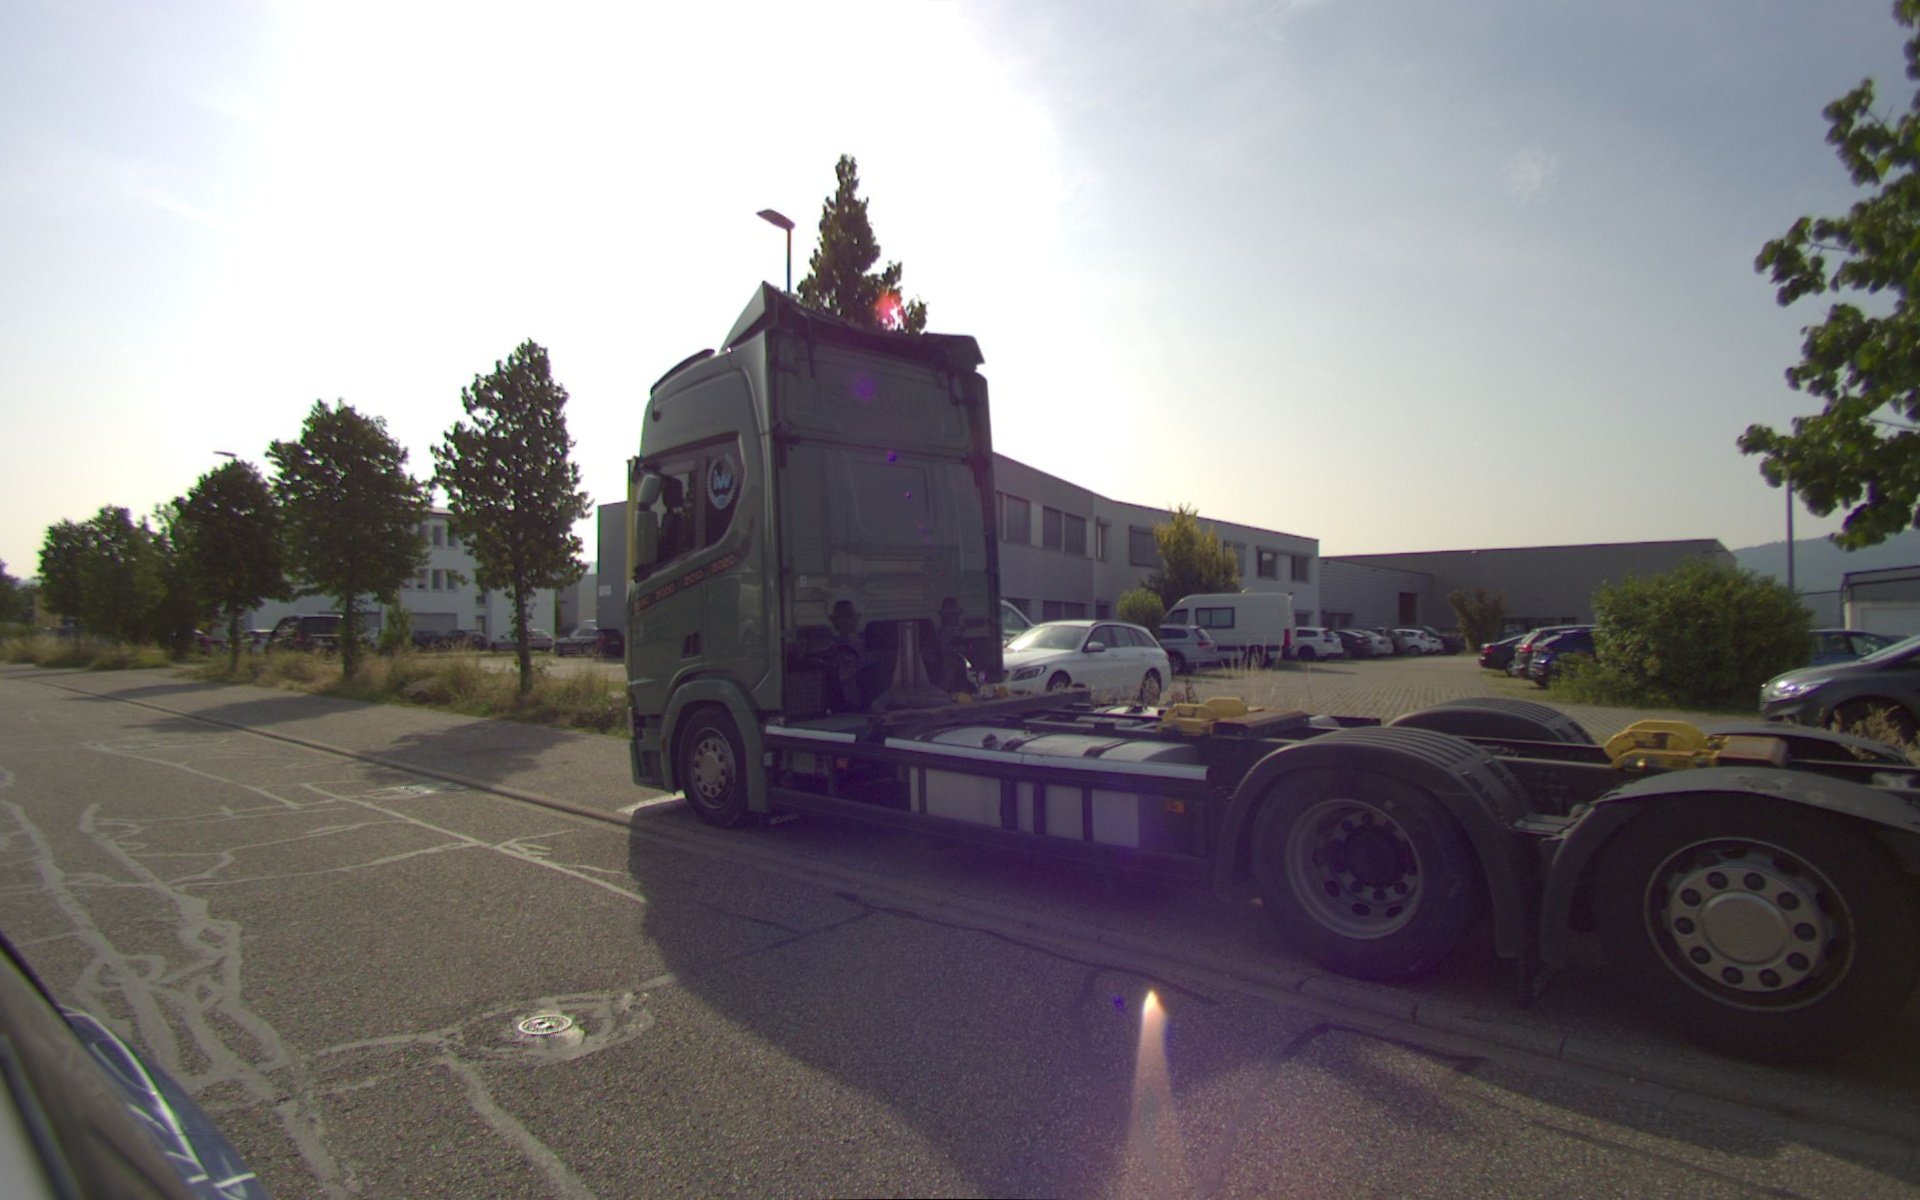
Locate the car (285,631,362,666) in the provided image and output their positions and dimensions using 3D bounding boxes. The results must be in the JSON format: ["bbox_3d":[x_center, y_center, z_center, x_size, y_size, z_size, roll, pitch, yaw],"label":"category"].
[{"bbox_3d":[-31.306,2.373,49.715,4.506,1.619,1.922,-2,-3,40],"label":"car"}]

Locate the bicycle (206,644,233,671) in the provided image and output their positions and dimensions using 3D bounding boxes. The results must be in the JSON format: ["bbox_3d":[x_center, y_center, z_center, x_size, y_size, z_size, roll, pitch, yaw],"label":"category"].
[{"bbox_3d":[-28.494,2.204,38.937,1.871,0.986,0.534,-2,-3,45],"label":"bicycle"}]

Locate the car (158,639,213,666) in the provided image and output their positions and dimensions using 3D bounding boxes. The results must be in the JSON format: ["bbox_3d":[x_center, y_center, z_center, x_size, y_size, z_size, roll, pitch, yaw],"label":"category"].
[{"bbox_3d":[-42.815,2.863,55.909,3.917,1.420,1.736,-2,-3,42],"label":"car"}]

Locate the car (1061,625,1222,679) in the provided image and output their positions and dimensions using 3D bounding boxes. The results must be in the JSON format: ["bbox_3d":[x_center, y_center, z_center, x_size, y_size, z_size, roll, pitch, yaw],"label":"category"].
[{"bbox_3d":[5.373,1.511,30.101,4.499,1.492,1.566,0,-2,25],"label":"car"}]

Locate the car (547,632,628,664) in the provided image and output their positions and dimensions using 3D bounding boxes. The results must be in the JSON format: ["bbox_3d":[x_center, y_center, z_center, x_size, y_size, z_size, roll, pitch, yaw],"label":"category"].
[{"bbox_3d":[-18.491,2.367,50.117,4.779,1.472,1.697,-2,-3,41],"label":"car"}]

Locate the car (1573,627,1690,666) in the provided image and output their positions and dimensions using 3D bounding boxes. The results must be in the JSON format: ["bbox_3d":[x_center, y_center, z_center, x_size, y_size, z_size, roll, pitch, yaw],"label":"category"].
[{"bbox_3d":[30.437,2.077,45.946,4.153,1.625,1.820,-1,-2,44],"label":"car"}]

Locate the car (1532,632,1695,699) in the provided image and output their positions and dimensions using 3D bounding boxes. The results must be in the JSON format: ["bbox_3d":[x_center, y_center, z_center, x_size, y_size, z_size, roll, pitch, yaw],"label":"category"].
[{"bbox_3d":[14.447,1.427,22.514,2.843,1.399,1.182,-1,-2,24],"label":"car"}]

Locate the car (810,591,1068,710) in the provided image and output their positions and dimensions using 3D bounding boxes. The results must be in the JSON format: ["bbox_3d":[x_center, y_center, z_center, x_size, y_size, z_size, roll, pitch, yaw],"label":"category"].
[{"bbox_3d":[-0.235,0.873,18.260,2.102,1.850,4.655,-2,-3,41],"label":"car"}]

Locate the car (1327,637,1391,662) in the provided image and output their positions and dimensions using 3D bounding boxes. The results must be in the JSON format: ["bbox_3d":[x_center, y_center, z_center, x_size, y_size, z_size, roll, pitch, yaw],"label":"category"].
[{"bbox_3d":[19.252,2.383,48.867,2.705,1.186,1.078,-1,-3,32],"label":"car"}]

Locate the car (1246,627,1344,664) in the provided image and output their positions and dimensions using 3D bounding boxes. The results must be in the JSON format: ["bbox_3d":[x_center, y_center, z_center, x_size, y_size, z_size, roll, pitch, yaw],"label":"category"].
[{"bbox_3d":[14.454,1.946,43.702,3.724,1.475,1.559,0,-2,39],"label":"car"}]

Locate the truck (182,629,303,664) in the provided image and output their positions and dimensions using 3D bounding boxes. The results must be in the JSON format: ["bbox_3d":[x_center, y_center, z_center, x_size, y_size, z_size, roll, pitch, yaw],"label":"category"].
[{"bbox_3d":[-64.468,4.211,91.178,8.696,2.855,2.521,4,-5,-34],"label":"truck"}]

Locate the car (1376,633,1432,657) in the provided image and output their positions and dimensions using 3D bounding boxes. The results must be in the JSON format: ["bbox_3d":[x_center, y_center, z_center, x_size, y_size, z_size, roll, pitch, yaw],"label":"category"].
[{"bbox_3d":[24.236,2.458,55.288,2.705,1.240,1.078,-1,-3,32],"label":"car"}]

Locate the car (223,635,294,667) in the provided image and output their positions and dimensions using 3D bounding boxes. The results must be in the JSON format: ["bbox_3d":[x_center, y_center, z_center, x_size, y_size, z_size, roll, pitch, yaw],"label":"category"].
[{"bbox_3d":[-33.417,2.408,48.193,3.914,1.460,1.768,-2,-3,39],"label":"car"}]

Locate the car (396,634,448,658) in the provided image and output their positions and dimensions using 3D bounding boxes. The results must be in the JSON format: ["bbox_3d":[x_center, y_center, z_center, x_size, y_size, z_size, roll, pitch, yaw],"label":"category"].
[{"bbox_3d":[-34.600,2.962,65.030,3.917,1.479,1.736,-2,-3,42],"label":"car"}]

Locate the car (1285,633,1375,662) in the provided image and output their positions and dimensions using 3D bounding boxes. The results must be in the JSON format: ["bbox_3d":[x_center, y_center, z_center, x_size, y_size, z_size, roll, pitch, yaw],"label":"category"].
[{"bbox_3d":[17.459,2.217,47.817,3.724,1.308,1.559,-1,-2,39],"label":"car"}]

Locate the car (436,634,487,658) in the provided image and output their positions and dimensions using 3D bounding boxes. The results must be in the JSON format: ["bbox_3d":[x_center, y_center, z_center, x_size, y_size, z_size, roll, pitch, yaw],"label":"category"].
[{"bbox_3d":[-32.826,3.019,66.597,3.917,1.479,1.736,-2,-3,42],"label":"car"}]

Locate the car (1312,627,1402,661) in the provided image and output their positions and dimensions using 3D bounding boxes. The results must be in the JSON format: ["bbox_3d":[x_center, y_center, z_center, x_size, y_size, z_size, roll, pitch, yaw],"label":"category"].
[{"bbox_3d":[20.563,2.273,52.550,3.996,1.702,1.779,-2,-3,39],"label":"car"}]

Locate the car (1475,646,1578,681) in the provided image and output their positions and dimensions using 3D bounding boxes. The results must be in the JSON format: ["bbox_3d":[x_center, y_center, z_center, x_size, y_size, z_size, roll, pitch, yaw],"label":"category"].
[{"bbox_3d":[17.363,1.916,31.044,2.705,1.002,1.078,-1,-3,32],"label":"car"}]

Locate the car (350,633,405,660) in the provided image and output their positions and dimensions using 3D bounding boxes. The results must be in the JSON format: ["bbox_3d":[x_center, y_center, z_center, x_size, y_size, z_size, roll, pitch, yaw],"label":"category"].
[{"bbox_3d":[-36.347,2.898,63.128,3.917,1.631,1.885,-2,-3,42],"label":"car"}]

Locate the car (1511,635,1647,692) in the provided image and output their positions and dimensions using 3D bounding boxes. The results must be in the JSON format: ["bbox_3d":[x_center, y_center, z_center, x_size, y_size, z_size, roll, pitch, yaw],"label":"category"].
[{"bbox_3d":[15.169,1.532,24.915,2.697,1.324,1.182,-1,-2,24],"label":"car"}]

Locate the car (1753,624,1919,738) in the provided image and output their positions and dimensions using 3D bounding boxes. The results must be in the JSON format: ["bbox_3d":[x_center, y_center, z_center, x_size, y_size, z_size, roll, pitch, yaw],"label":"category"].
[{"bbox_3d":[13.709,1.112,14.039,4.209,1.527,1.688,-2,-3,40],"label":"car"}]

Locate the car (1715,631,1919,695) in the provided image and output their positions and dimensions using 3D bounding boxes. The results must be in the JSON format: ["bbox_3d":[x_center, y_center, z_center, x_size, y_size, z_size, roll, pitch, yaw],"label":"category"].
[{"bbox_3d":[21.247,1.501,24.931,3.984,1.453,1.882,-1,-2,30],"label":"car"}]

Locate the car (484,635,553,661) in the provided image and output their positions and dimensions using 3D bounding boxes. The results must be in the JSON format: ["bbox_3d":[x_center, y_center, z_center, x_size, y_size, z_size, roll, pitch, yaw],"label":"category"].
[{"bbox_3d":[-25.333,2.738,57.985,4.376,1.383,1.716,-2,-3,38],"label":"car"}]

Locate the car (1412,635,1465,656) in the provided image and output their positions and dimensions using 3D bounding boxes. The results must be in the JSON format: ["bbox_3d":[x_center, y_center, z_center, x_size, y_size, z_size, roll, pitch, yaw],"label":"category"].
[{"bbox_3d":[27.946,2.646,59.129,2.705,1.150,1.078,-1,-3,32],"label":"car"}]

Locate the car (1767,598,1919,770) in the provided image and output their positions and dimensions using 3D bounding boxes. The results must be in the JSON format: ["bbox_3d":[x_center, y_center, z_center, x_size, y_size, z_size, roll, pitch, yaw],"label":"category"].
[{"bbox_3d":[11.012,0.831,10.004,4.694,1.699,1.974,-2,-3,39],"label":"car"}]

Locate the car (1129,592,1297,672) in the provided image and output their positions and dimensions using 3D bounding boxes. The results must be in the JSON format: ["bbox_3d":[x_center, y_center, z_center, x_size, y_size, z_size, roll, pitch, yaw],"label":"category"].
[{"bbox_3d":[9.079,1.141,36.474,5.717,2.715,1.697,0,-2,24],"label":"car"}]

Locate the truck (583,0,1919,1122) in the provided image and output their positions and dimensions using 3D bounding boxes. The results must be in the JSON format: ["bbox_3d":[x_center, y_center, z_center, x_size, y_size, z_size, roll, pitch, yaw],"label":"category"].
[{"bbox_3d":[1.310,-0.368,6.048,9.800,3.911,2.429,-1,0,42],"label":"truck"}]

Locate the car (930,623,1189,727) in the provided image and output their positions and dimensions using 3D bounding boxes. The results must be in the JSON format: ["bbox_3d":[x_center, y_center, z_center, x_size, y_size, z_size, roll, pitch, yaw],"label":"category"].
[{"bbox_3d":[1.774,1.111,16.462,1.997,1.442,4.681,-2,-2,38],"label":"car"}]

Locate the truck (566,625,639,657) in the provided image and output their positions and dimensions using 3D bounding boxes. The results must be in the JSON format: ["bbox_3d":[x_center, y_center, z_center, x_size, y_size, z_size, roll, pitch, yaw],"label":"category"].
[{"bbox_3d":[-22.227,2.559,62.870,4.946,1.918,1.974,-2,-3,38],"label":"truck"}]

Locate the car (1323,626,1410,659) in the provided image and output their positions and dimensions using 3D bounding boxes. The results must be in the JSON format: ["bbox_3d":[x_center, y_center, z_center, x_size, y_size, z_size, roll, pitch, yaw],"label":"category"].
[{"bbox_3d":[21.825,2.269,54.372,3.996,1.702,1.779,-2,-3,39],"label":"car"}]

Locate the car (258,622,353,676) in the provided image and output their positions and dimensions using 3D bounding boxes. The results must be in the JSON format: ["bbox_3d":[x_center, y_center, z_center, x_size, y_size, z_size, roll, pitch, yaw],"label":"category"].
[{"bbox_3d":[-26.216,1.950,40.467,4.988,2.029,1.862,-3,-4,41],"label":"car"}]
